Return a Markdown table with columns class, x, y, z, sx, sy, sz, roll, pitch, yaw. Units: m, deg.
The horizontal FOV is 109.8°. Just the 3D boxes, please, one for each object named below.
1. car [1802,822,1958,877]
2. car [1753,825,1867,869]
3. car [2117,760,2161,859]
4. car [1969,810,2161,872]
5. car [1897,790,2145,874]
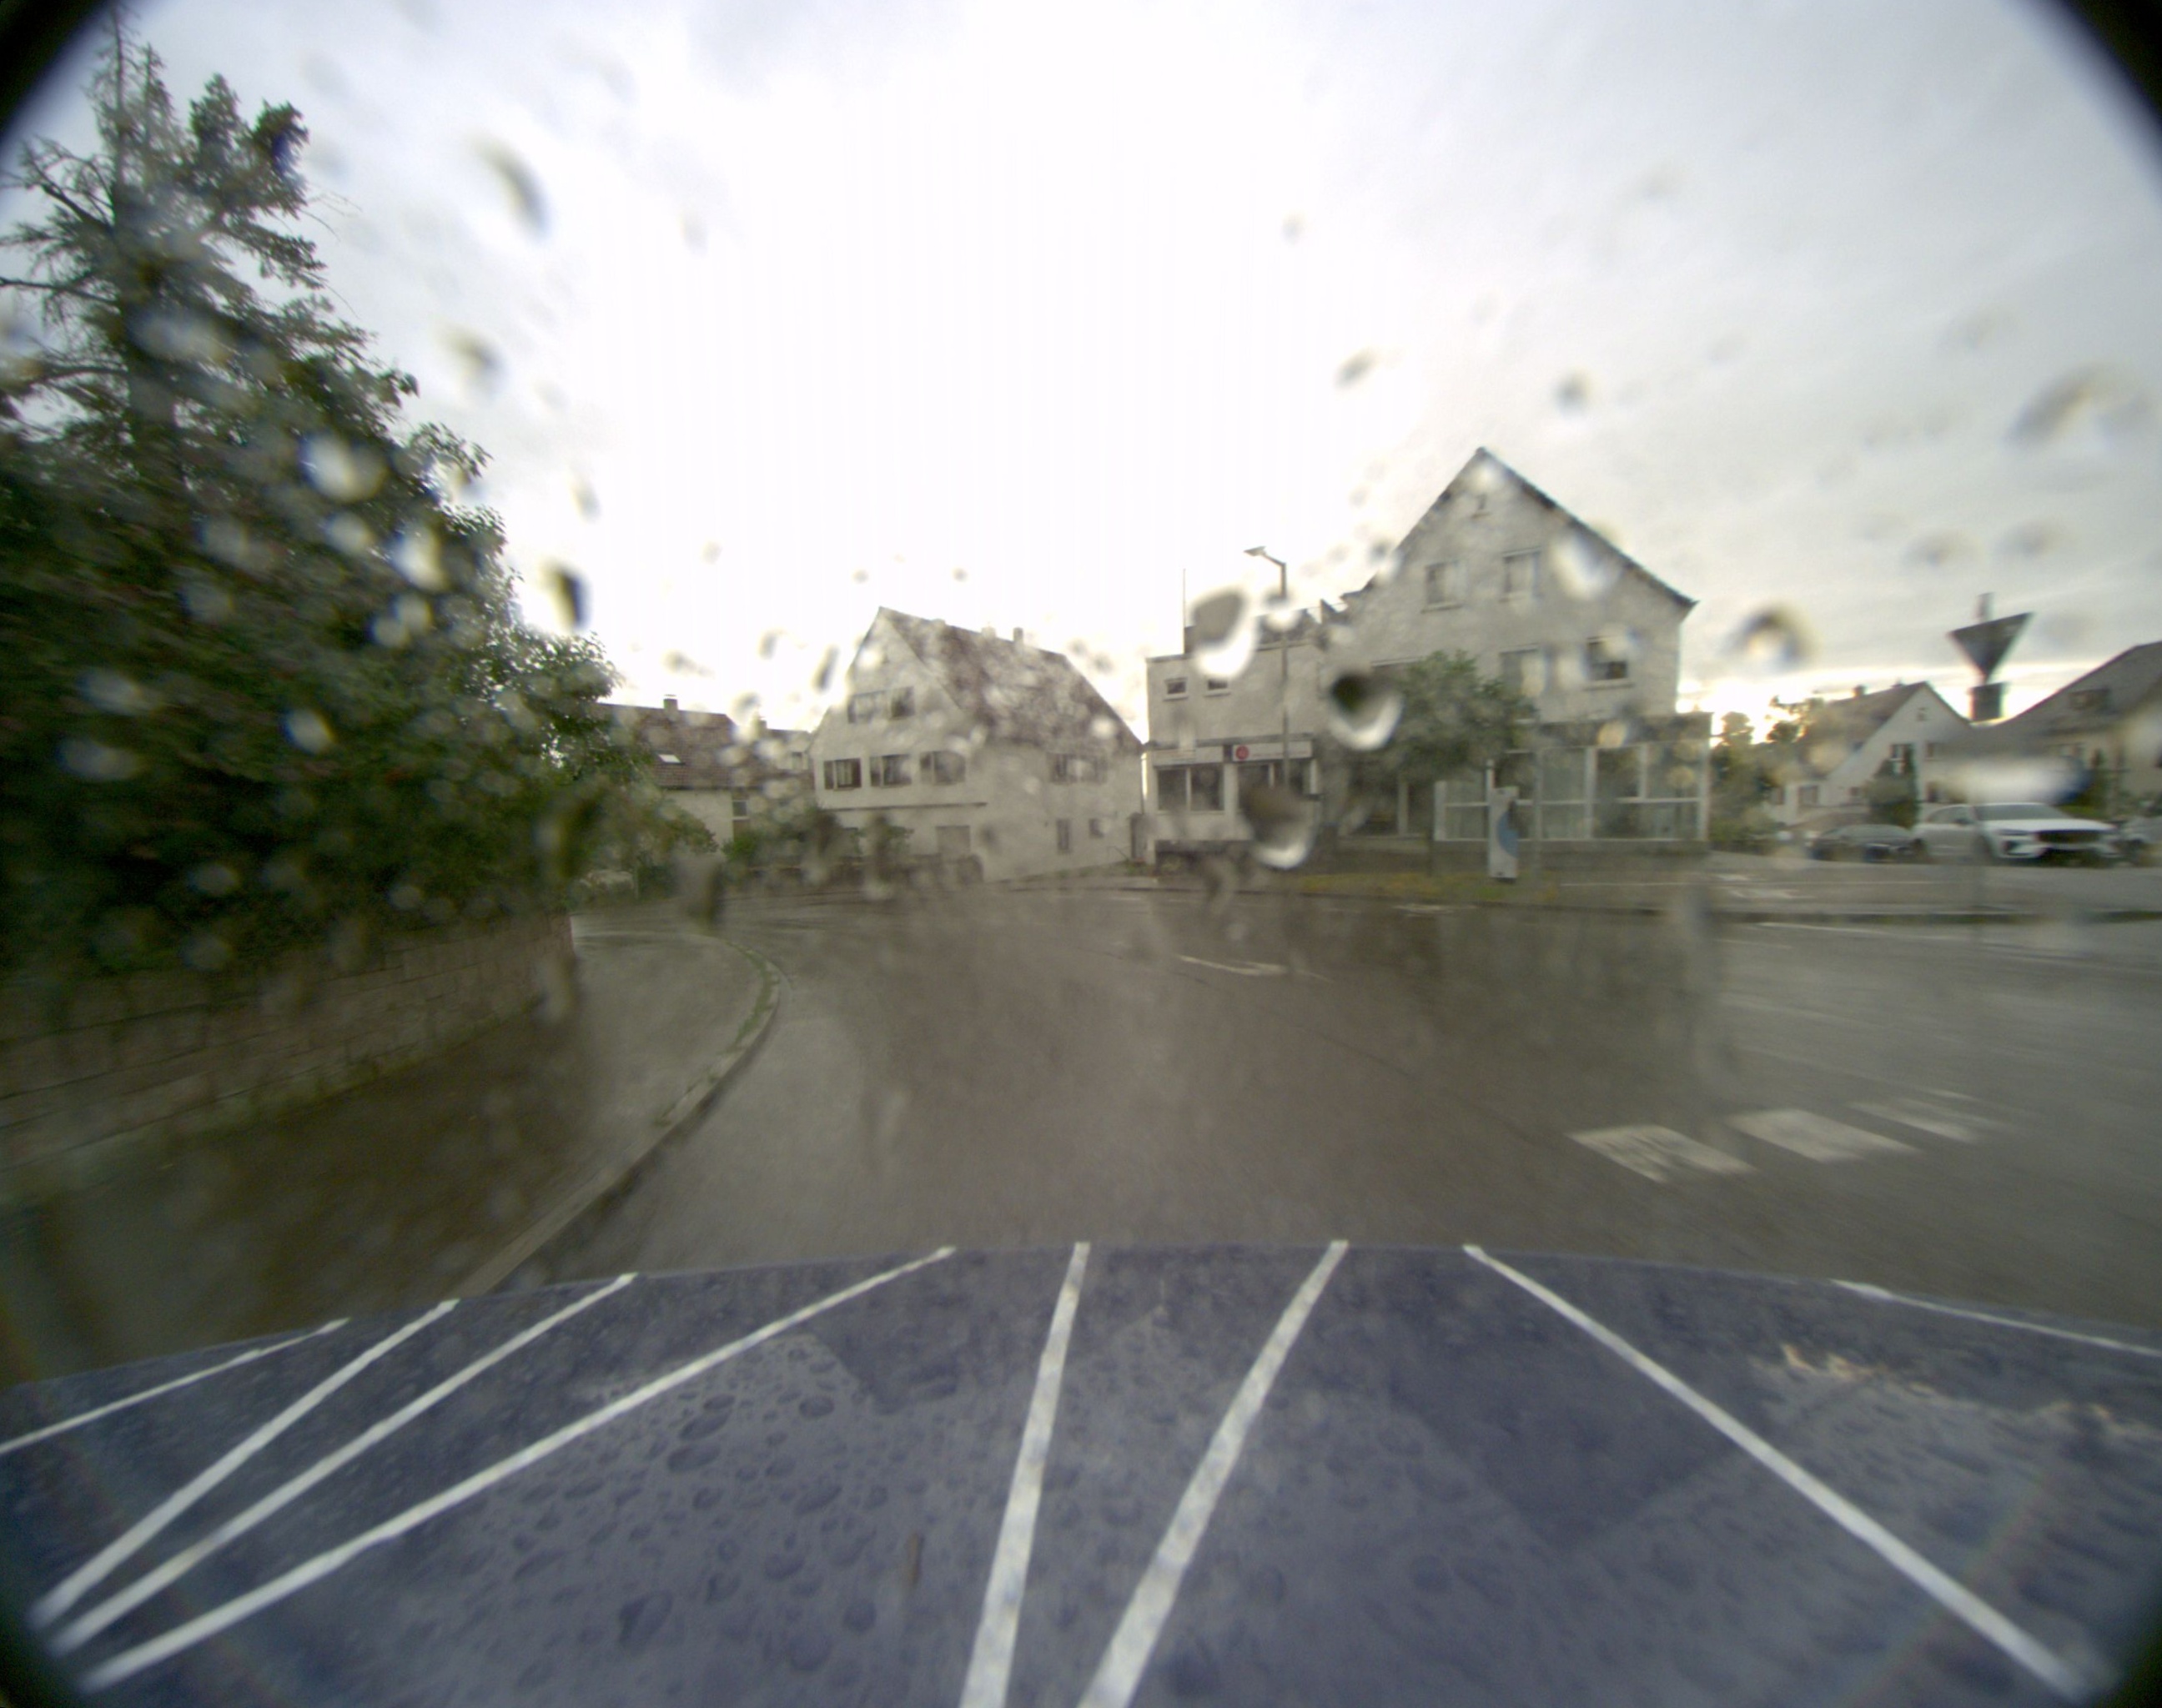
| class | x | y | z | sx | sy | sz | roll | pitch | yaw |
| --- | --- | --- | --- | --- | --- | --- | --- | --- | --- |
| car | 24.368 | -0.193 | 23.412 | 2.062 | 1.501 | 4.489 | -1 | 1 | 29 |
| car | 27.558 | -0.326 | 28.905 | 2.062 | 1.501 | 4.489 | -1 | 1 | 29 |
| car | 27.803 | -1.104 | 17.361 | 2.186 | 2.509 | 6.263 | -1 | 1 | 25 |
| car | 30.688 | -0.440 | 23.722 | 2.062 | 1.696 | 4.801 | -1 | 1 | 25 |
| car | 21.913 | -0.511 | 18.055 | 2.062 | 1.696 | 4.801 | -1 | 1 | 29 |
